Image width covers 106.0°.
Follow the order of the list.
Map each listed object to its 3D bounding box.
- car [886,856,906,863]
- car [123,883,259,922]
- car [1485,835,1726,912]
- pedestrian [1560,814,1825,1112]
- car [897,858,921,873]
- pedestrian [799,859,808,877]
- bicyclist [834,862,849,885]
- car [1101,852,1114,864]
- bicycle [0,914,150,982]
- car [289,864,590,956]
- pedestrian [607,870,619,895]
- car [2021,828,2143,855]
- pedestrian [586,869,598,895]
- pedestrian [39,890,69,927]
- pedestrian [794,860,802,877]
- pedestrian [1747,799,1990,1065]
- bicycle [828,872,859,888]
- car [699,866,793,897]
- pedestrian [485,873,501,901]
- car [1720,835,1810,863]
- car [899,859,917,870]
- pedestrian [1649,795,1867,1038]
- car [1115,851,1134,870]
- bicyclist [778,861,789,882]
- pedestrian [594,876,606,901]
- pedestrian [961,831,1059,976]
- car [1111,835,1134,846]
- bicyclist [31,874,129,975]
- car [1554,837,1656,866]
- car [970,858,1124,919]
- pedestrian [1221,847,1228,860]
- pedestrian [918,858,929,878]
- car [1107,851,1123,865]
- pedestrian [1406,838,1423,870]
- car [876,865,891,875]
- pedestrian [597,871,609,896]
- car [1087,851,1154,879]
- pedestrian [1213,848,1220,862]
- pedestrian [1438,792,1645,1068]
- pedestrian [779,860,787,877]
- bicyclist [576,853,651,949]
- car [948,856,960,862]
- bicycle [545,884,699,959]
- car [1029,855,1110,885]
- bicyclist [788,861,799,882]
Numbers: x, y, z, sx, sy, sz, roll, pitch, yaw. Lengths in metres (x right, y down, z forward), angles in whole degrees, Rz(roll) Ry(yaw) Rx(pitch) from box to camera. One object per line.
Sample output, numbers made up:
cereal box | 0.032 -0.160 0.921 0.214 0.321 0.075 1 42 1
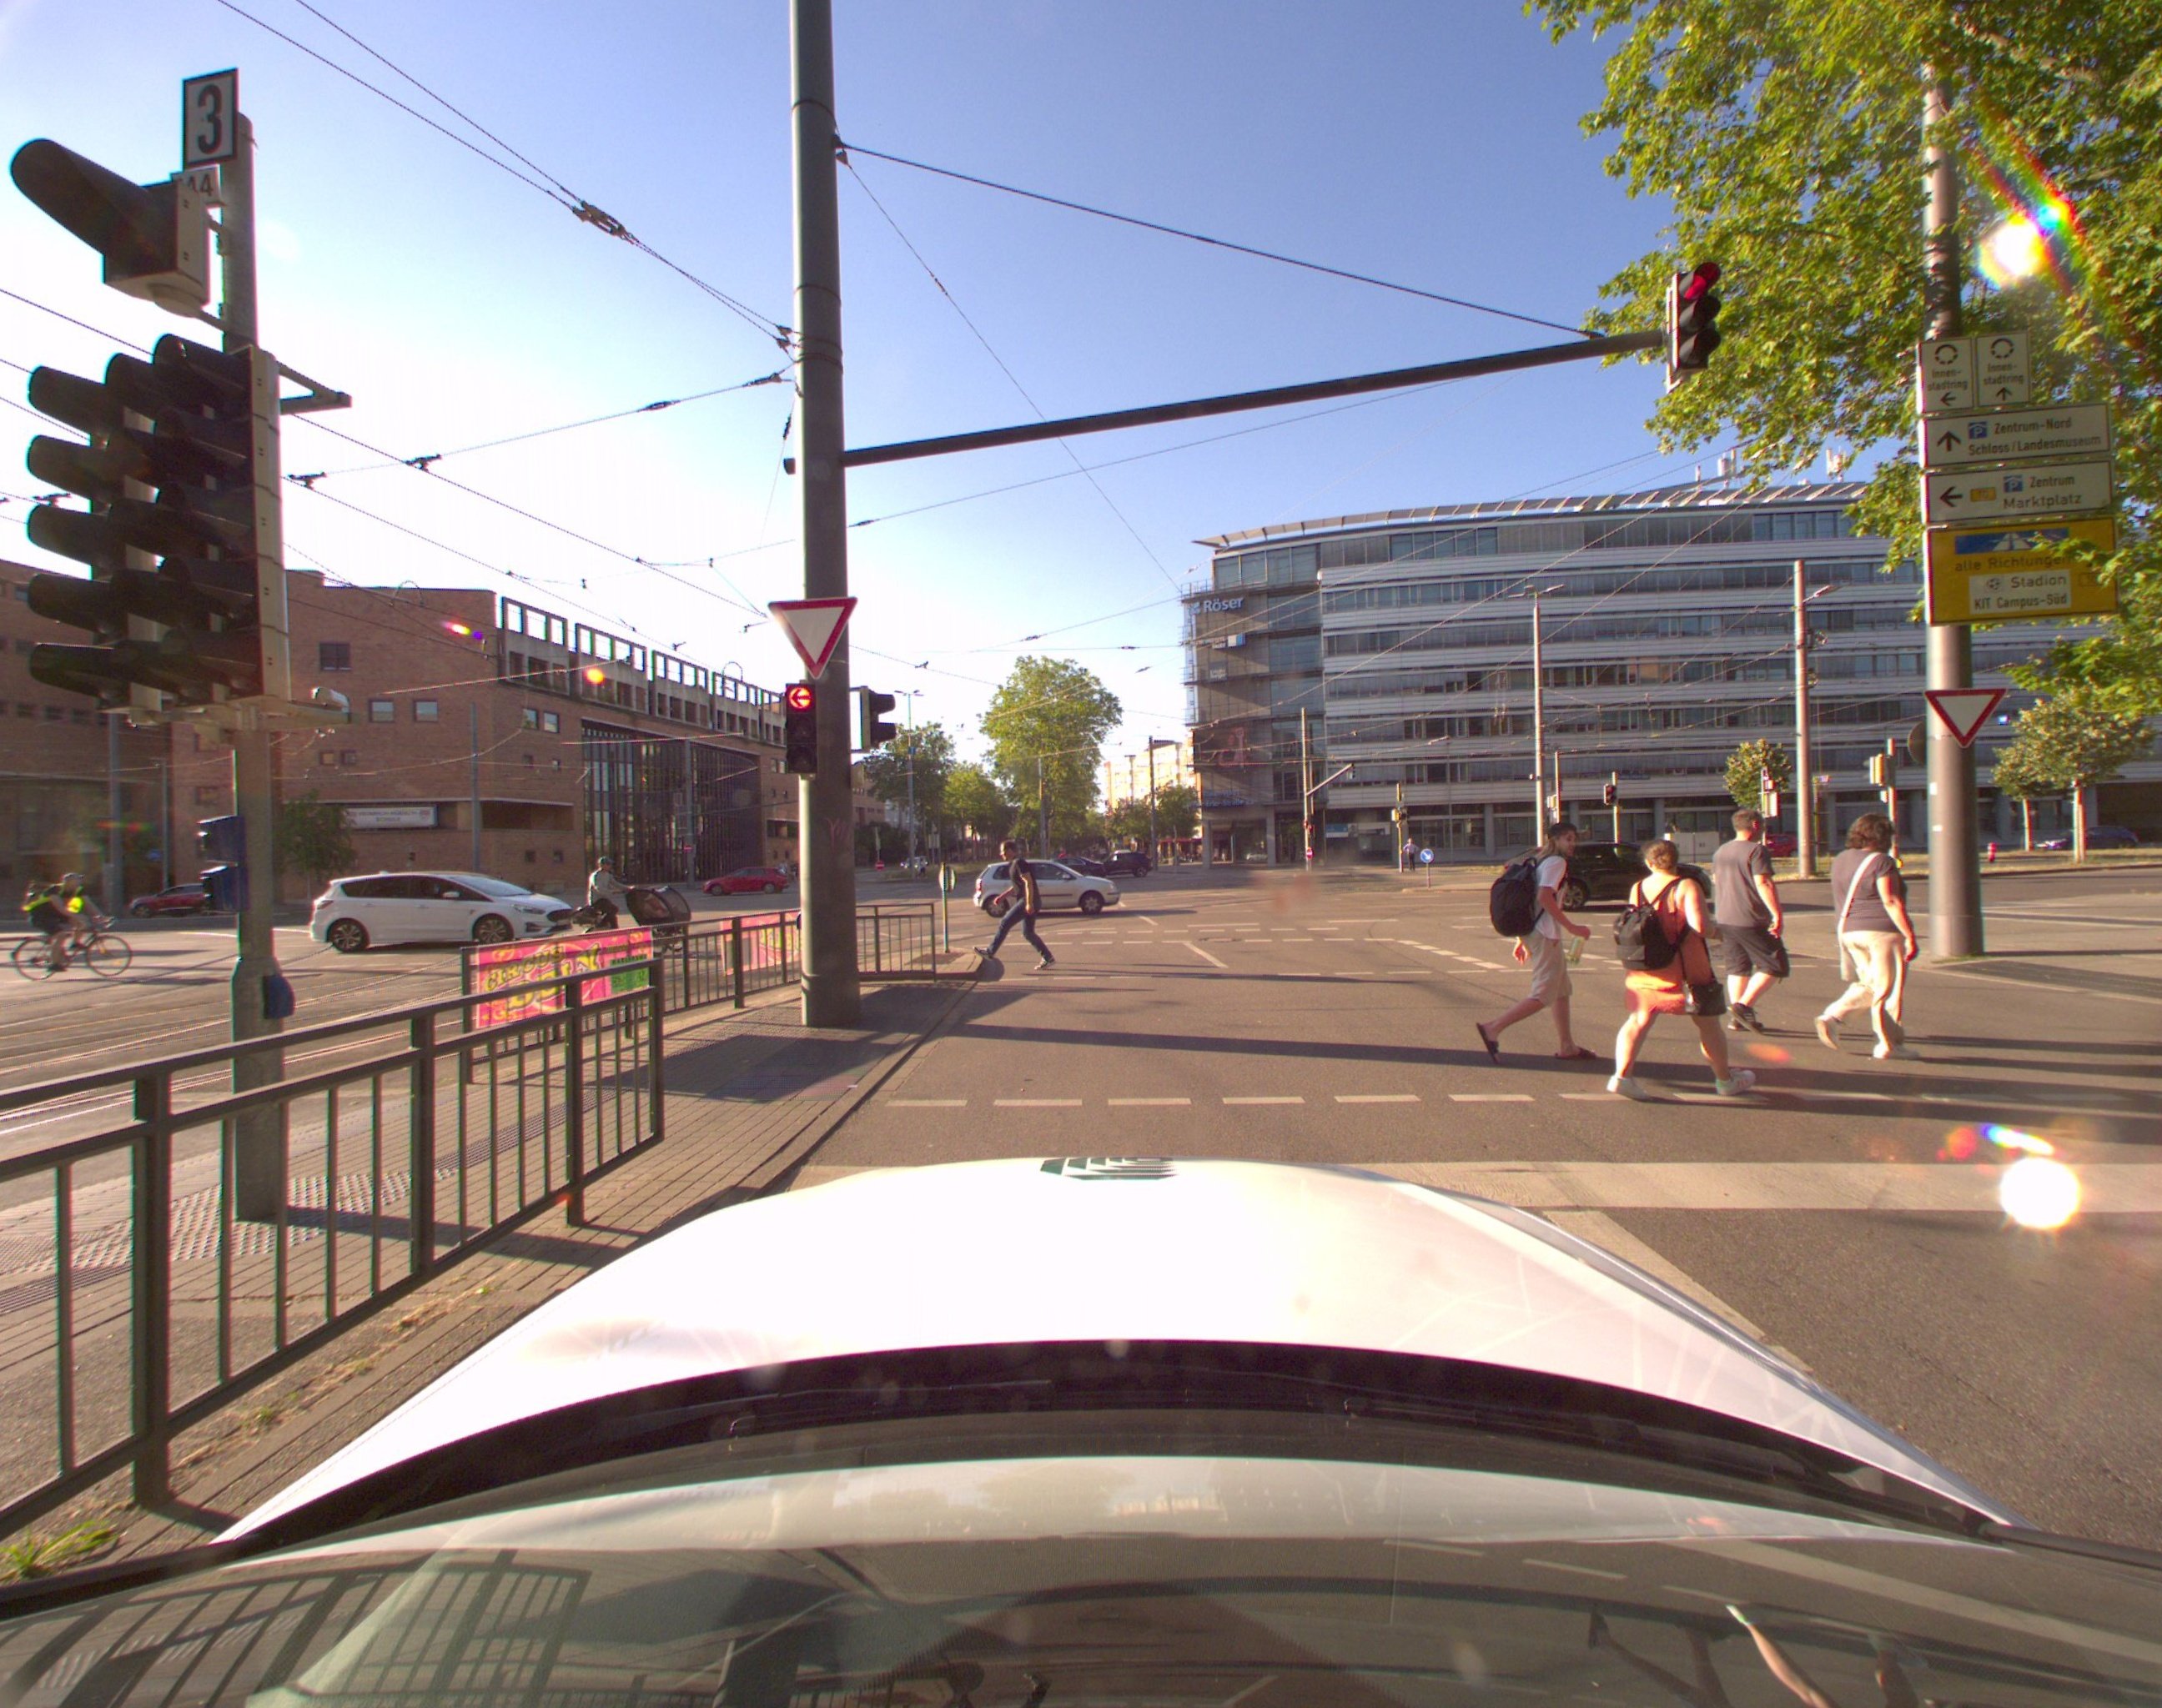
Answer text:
car | -39.317 1.170 173.150 4.011 1.552 1.592 0 -1 -29
car | -43.528 2.337 39.911 4.240 1.602 1.790 -2 0 -9
car | 12.127 0.437 19.018 4.469 1.583 1.824 -2 0 -2
pedestrian | 3.728 0.617 5.039 1.071 1.682 0.756 0 -1 -6
car | -19.080 1.237 90.505 1.990 1.508 3.994 -2 0 -4
pedestrian | -29.412 1.495 86.359 0.637 1.810 0.547 -2 0 9
bicyclist | -14.641 1.169 49.701 0.821 1.366 0.398 -2 0 -18
car | 4.140 0.626 126.844 1.986 1.662 4.002 -2 0 2
bicycle | -17.281 1.608 14.001 1.914 1.064 0.630 -1 0 4
car | -13.883 1.158 17.898 4.825 1.727 1.997 -2 0 -5
pedestrian | -31.843 1.951 55.387 0.538 1.650 0.622 -2 0 -17
car | 56.051 -0.686 45.676 3.961 1.348 1.982 -2 0 11
pedestrian | -32.501 1.855 54.119 0.538 1.650 0.622 -1 -1 -17
pedestrian | -45.783 2.428 36.317 0.542 1.613 0.613 0 1 -3
pedestrian | -29.625 1.498 85.335 0.519 1.779 0.547 -2 0 9
pedestrian | 5.727 0.531 5.978 1.070 1.806 0.756 0 -1 -6
bicycle | -14.505 1.584 49.727 1.746 0.899 0.406 -2 0 -18
car | -17.655 1.427 43.093 4.238 1.392 1.790 -2 0 -8
pedestrian | -35.345 1.973 48.916 0.538 1.613 0.575 -2 0 33
car | 39.976 -0.312 47.686 3.573 1.466 1.801 -2 0 11
car | -24.684 1.494 116.427 1.990 1.508 3.994 -2 0 -4
pedestrian | 5.616 0.486 6.815 1.143 1.894 0.831 0 -1 -6
car | 4.744 0.701 89.770 1.986 1.991 4.002 -2 0 2
bicyclist | -24.272 1.424 66.375 0.592 1.675 0.788 -2 0 -4
pedestrian | -32.646 2.346 55.299 0.538 1.650 0.622 -1 -1 -17
pedestrian | -0.937 0.637 10.958 1.206 1.822 1.040 -2 -1 -4
car | 7.221 -2.377 141.328 3.732 1.750 1.789 0 -1 16
bicyclist | -17.186 1.196 13.994 0.900 1.664 0.640 -2 0 4
car | 27.917 -0.125 43.506 4.219 1.392 1.799 -2 0 6
car | -0.889 0.873 21.747 3.899 1.434 1.823 -2 0 -3
pedestrian | 15.785 -0.057 89.756 0.701 1.465 0.385 -2 0 11
pedestrian | -12.272 1.083 63.345 0.753 1.530 0.507 -1 0 -6
car | 4.389 0.473 105.106 1.986 1.662 4.002 -2 0 2
pedestrian | 17.342 -0.003 42.335 0.715 1.681 0.558 -1 0 9
car | -30.155 2.403 124.222 1.906 1.510 3.987 0 -1 -9
pedestrian | -32.900 2.046 56.032 0.538 1.650 0.622 -3 0 -17
car | 2.391 0.671 49.827 3.858 1.507 1.790 -2 0 -8
pedestrian | 15.013 0.095 90.067 0.734 1.465 0.538 -2 0 11
pedestrian | 3.317 0.515 5.940 1.072 1.871 0.737 0 -1 -6
pedestrian | -31.301 1.514 85.478 0.487 1.810 0.547 -2 0 9
bicyclist | -8.466 0.837 14.782 0.900 1.681 0.692 -2 0 5
car | -34.190 1.210 218.546 1.982 1.508 4.011 -2 0 9
bicycle | -8.278 1.201 14.769 2.147 1.226 1.074 -1 1 5
car | -0.681 0.875 44.929 4.238 1.434 1.790 -2 0 -8
bicyclist | -23.504 1.423 66.612 0.592 1.675 0.788 -2 0 -4
